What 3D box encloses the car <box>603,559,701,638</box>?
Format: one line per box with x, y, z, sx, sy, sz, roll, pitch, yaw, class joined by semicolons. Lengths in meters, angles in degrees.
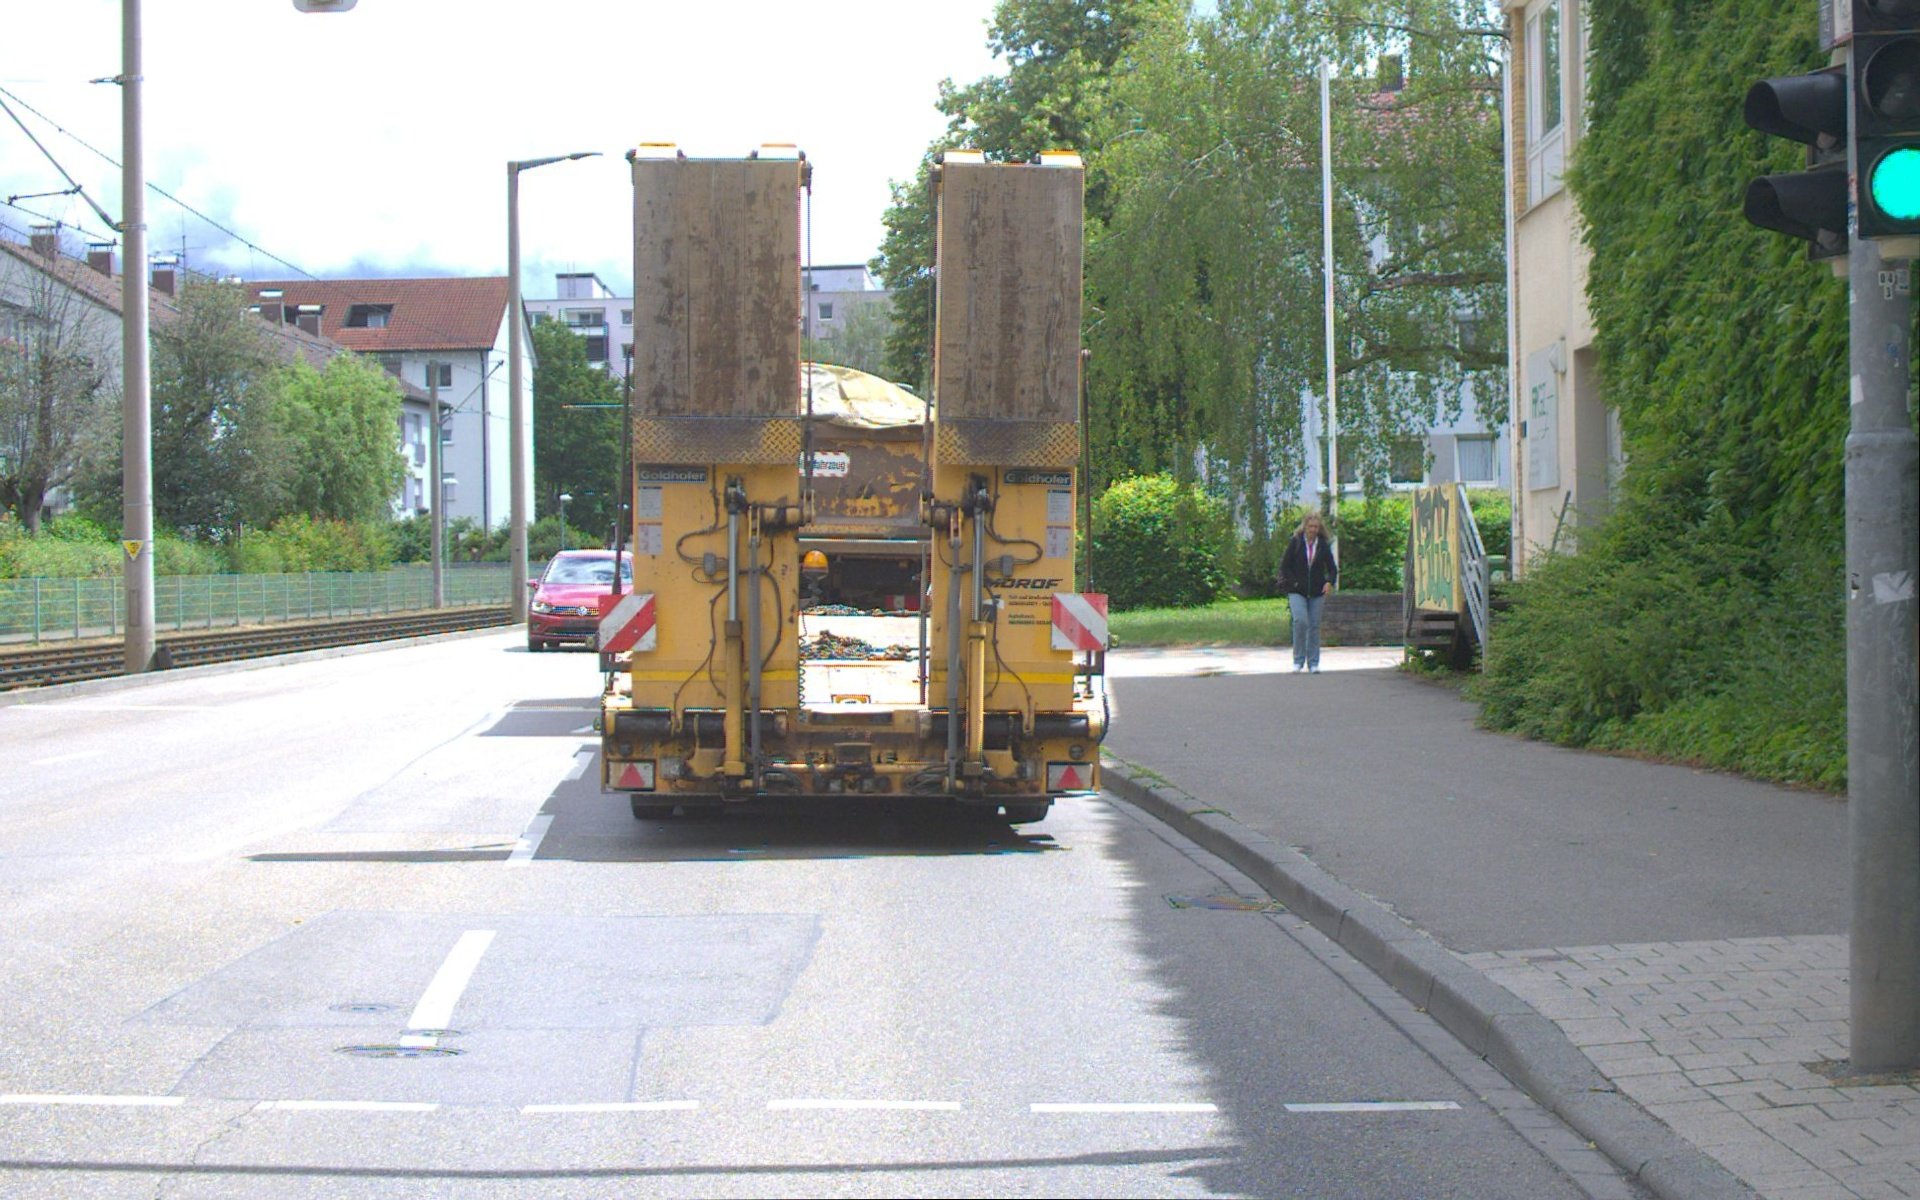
-6.168;-0.051;69.133;1.760;1.547;4.000;0;1;-2;car

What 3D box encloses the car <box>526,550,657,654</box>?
-5.731;0.015;53.799;1.663;1.547;4.000;1;1;-1;car

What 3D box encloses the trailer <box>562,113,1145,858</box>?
-1.059;-0.618;23.157;2.827;3.633;12.356;1;1;-5;trailer

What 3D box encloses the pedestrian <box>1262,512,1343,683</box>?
3.608;-0.032;36.165;0.809;1.765;0.816;1;0;6;pedestrian
